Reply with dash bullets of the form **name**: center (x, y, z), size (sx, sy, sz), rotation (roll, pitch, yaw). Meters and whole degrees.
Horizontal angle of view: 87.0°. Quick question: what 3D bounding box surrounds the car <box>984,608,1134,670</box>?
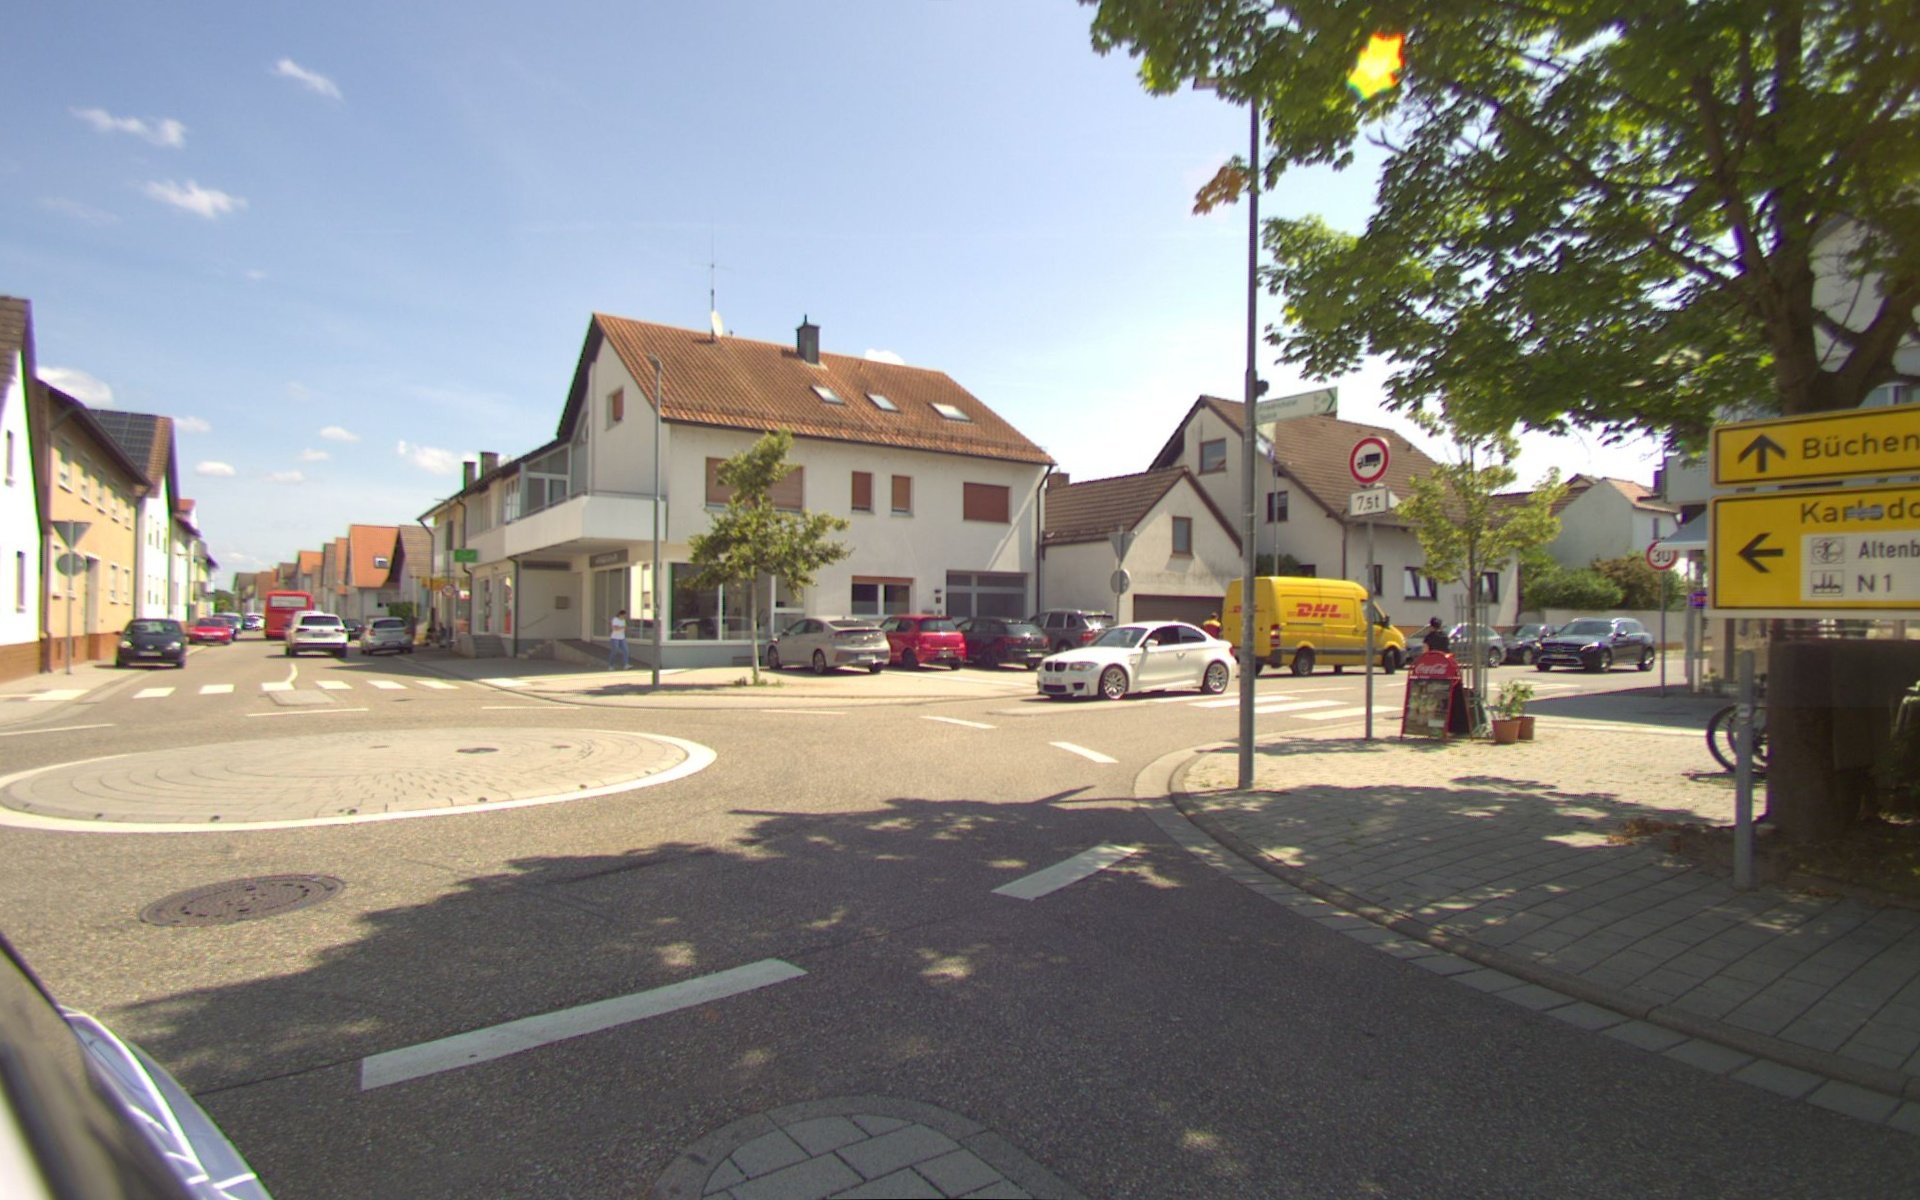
- **car**: center (2.956, 1.133, 31.254), size (1.954, 1.752, 4.761), rotation (1, -1, -35)

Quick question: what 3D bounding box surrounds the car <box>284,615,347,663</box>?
- **car**: center (-24.846, 1.453, 38.946), size (1.841, 1.723, 4.554), rotation (1, -2, -35)

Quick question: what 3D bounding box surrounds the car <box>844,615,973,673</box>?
- **car**: center (-1.491, 1.165, 28.133), size (1.724, 1.488, 3.974), rotation (1, -1, -35)

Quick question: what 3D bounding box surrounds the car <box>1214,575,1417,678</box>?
- **car**: center (9.834, 0.753, 27.876), size (5.587, 2.592, 2.119), rotation (1, -2, -30)

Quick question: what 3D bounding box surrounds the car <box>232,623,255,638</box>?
- **car**: center (-72.252, 3.106, 102.052), size (1.737, 1.439, 4.197), rotation (2, -2, -38)

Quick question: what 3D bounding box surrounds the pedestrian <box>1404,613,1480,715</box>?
- **pedestrian**: center (7.788, 1.022, 16.386), size (0.870, 1.601, 0.748), rotation (-1, -2, 8)

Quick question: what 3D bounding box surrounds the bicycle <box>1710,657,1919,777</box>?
- **bicycle**: center (8.014, 1.028, 9.087), size (1.983, 1.011, 0.395), rotation (-4, -4, 44)

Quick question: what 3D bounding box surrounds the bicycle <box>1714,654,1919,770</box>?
- **bicycle**: center (8.303, 1.020, 9.427), size (1.983, 1.011, 0.395), rotation (-4, -4, 44)

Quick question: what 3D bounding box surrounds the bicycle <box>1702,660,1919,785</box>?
- **bicycle**: center (7.700, 1.035, 8.765), size (1.983, 1.011, 0.395), rotation (-4, -4, 44)

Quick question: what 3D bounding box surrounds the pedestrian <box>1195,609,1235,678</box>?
- **pedestrian**: center (7.013, 1.202, 27.818), size (0.779, 1.840, 1.013), rotation (-3, -3, 28)

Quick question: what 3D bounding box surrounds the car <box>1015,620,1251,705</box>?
- **car**: center (3.343, 1.124, 19.306), size (4.261, 1.460, 1.886), rotation (1, -2, -32)

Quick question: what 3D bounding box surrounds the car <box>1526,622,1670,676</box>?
- **car**: center (19.086, 1.411, 30.242), size (4.342, 1.361, 1.885), rotation (-1, 0, -32)

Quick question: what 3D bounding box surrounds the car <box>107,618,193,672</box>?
- **car**: center (-23.794, 1.326, 29.820), size (1.663, 1.474, 3.638), rotation (4, -3, -35)

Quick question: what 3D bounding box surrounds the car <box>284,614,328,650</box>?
- **car**: center (-35.403, 1.740, 54.734), size (1.748, 1.835, 4.452), rotation (3, -3, -35)

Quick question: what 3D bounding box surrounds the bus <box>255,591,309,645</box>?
- **bus**: center (-44.991, 1.242, 66.998), size (2.591, 3.257, 12.052), rotation (3, -3, -35)

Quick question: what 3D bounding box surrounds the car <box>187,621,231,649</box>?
- **car**: center (-39.905, 1.867, 53.821), size (1.736, 1.439, 4.199), rotation (1, -2, -35)

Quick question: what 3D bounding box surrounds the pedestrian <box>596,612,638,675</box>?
- **pedestrian**: center (-9.074, 1.137, 26.769), size (0.745, 1.595, 0.958), rotation (-1, 0, -39)

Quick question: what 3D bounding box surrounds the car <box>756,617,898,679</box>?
- **car**: center (-3.567, 1.182, 26.504), size (1.805, 1.461, 4.490), rotation (1, -1, -35)

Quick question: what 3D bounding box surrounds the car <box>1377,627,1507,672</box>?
- **car**: center (15.424, 1.540, 32.367), size (3.905, 1.253, 1.792), rotation (-1, -1, -29)

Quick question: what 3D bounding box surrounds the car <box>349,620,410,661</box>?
- **car**: center (-24.270, 1.655, 42.238), size (1.721, 1.527, 4.009), rotation (-3, 1, -36)

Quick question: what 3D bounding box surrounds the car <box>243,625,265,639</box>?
- **car**: center (-78.234, 3.530, 112.091), size (1.737, 1.439, 4.197), rotation (2, -2, -38)

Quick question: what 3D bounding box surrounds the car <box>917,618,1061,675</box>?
- **car**: center (0.755, 1.275, 29.127), size (1.805, 1.461, 4.490), rotation (1, -1, -35)

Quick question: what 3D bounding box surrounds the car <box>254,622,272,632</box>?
- **car**: center (-95.807, 3.734, 139.102), size (1.737, 1.439, 3.860), rotation (2, -2, -38)

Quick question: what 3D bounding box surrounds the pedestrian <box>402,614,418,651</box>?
- **pedestrian**: center (-27.304, 1.610, 50.230), size (0.569, 1.803, 0.695), rotation (-1, 0, -35)

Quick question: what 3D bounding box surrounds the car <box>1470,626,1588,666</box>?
- **car**: center (19.907, 1.576, 35.388), size (3.905, 1.253, 1.792), rotation (-1, -1, -29)

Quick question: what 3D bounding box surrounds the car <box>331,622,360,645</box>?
- **car**: center (-40.223, 2.152, 66.198), size (1.434, 1.381, 3.393), rotation (-2, 0, -33)
